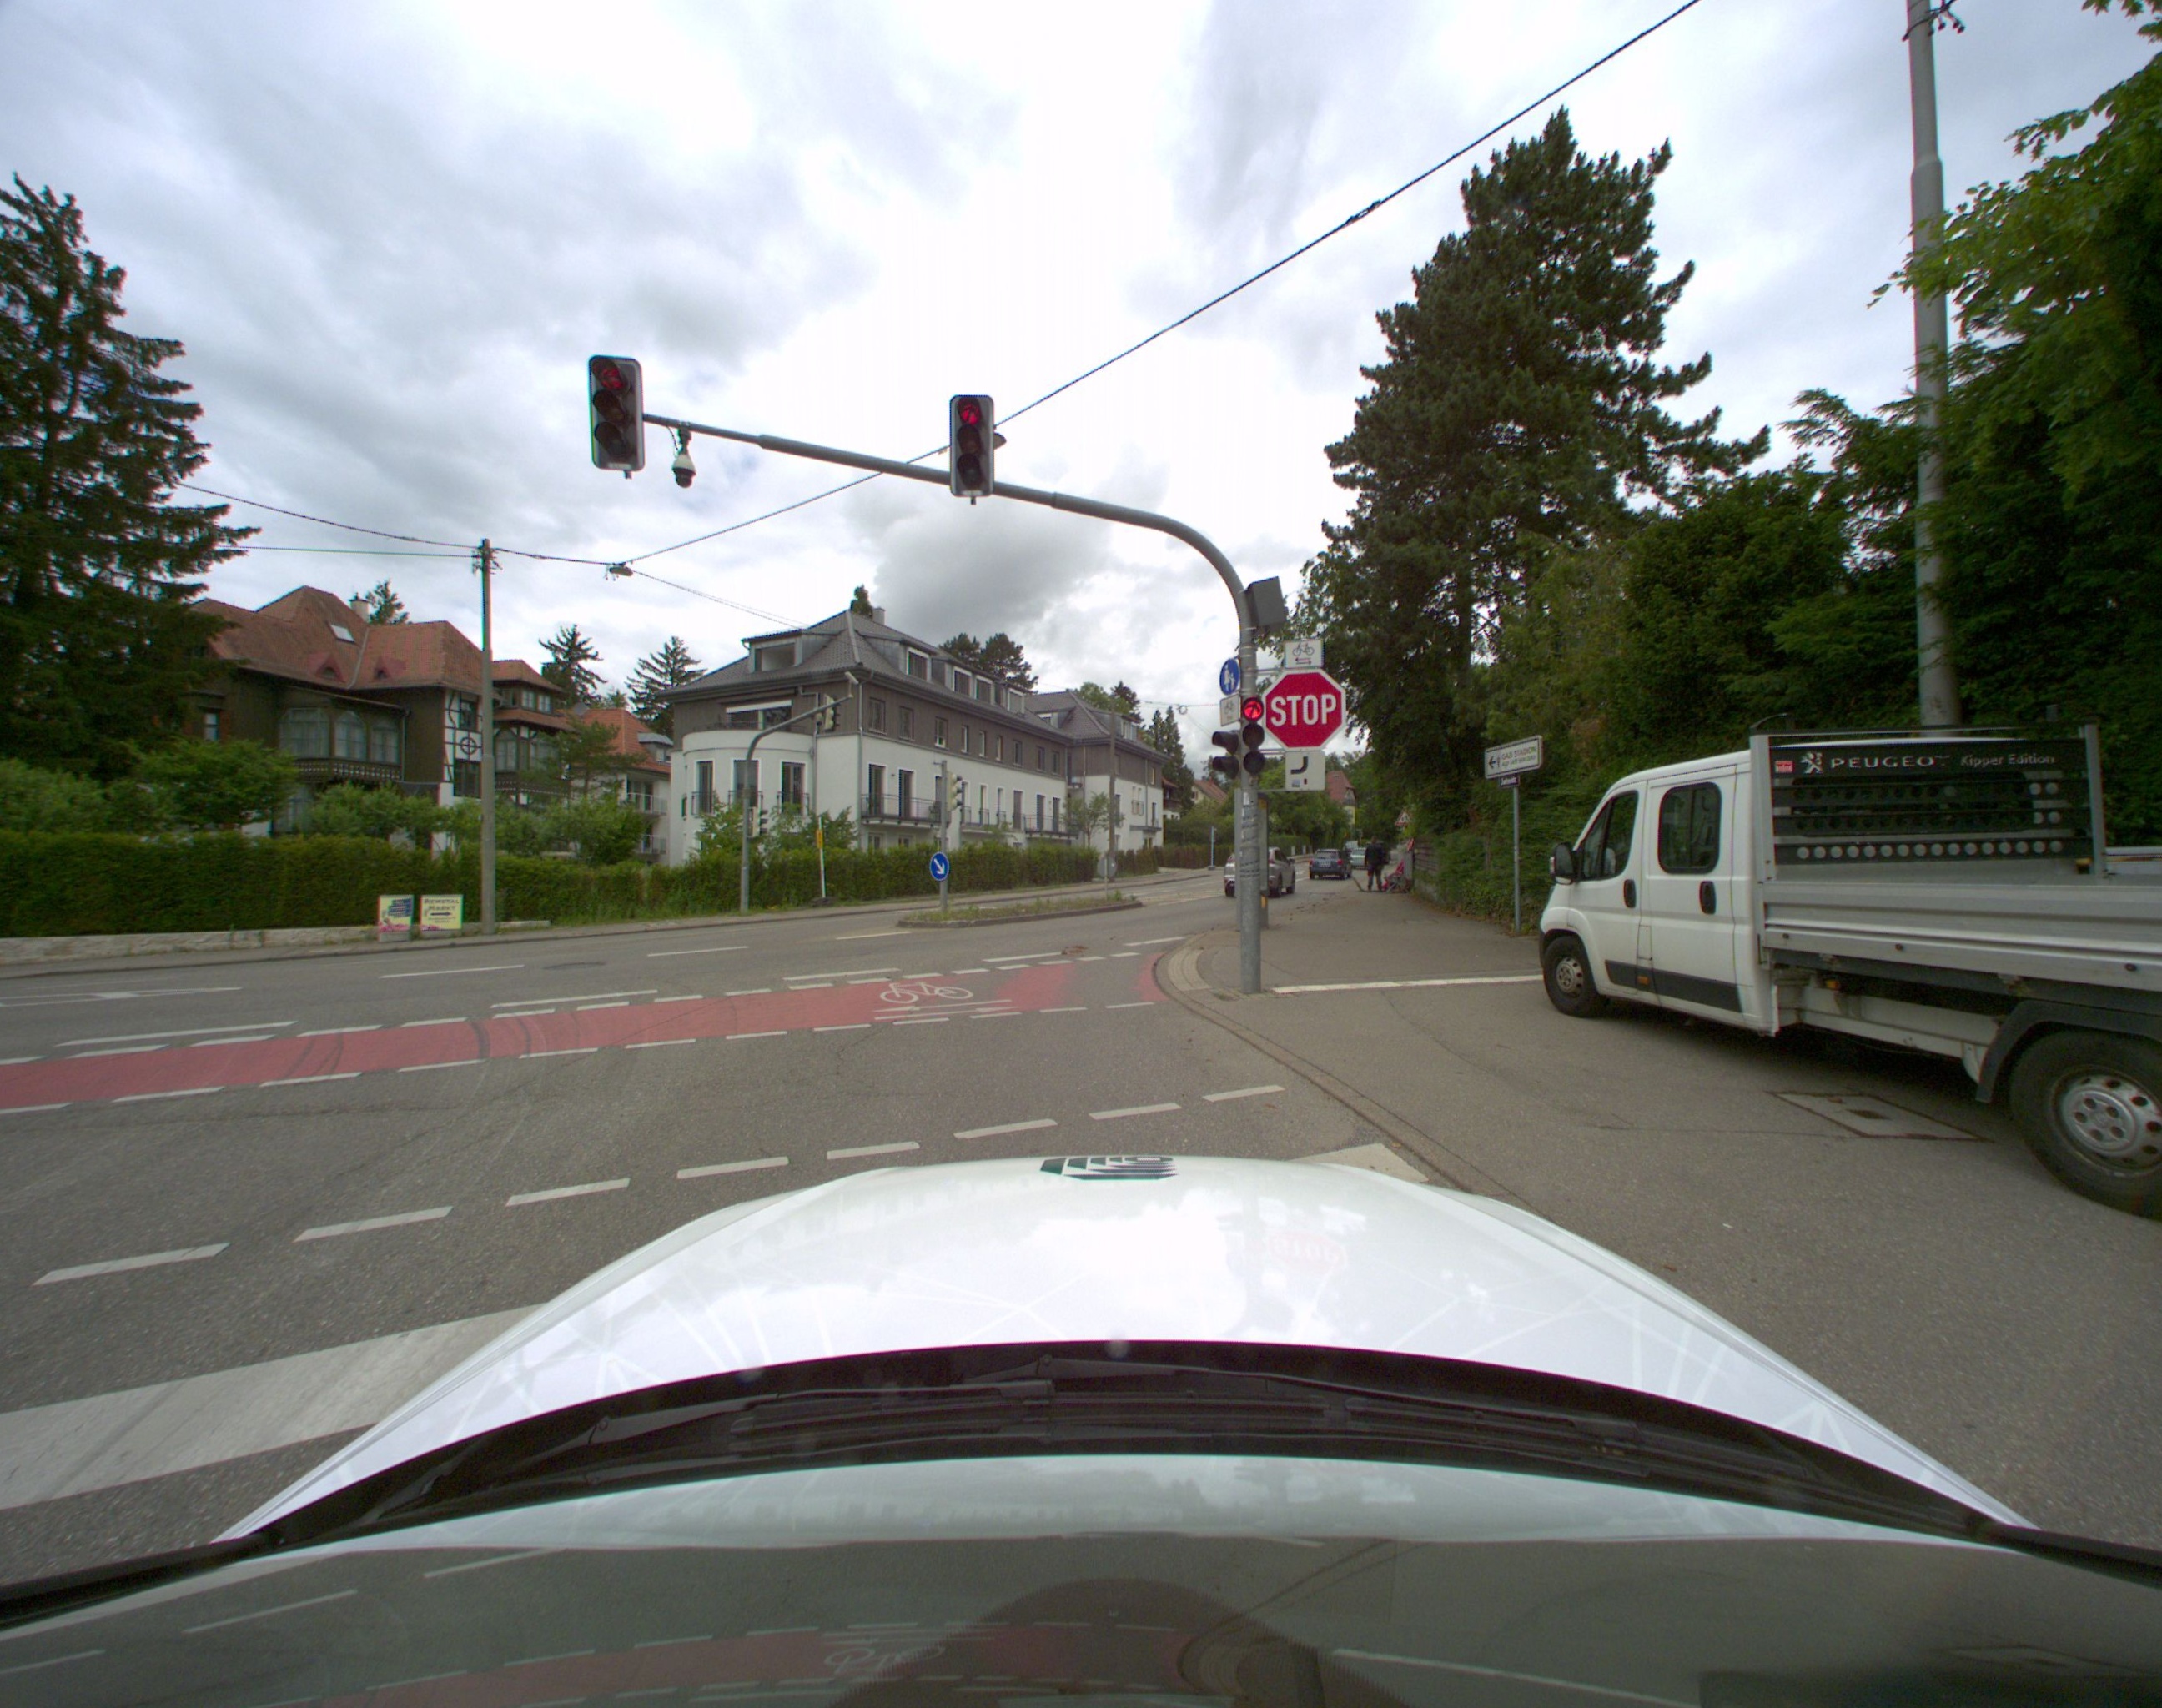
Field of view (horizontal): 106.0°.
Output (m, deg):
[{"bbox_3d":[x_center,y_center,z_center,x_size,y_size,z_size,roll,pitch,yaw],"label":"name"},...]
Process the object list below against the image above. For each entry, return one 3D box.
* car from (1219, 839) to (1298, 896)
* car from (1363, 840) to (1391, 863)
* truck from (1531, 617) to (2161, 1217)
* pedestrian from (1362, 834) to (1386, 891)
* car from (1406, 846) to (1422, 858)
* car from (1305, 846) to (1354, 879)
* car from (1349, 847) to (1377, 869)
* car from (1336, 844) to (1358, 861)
[{"bbox_3d":[6.139,0.424,27.738,1.791,1.753,4.512,-2,0,23],"label":"car"},{"bbox_3d":[25.119,-0.252,69.077,1.902,1.894,4.935,1,1,23],"label":"car"},{"bbox_3d":[5.267,0.234,4.962,2.198,2.243,5.729,0,0,4],"label":"truck"},{"bbox_3d":[9.831,0.290,27.357,0.594,1.907,0.559,0,-1,2],"label":"pedestrian"},{"bbox_3d":[49.015,-0.300,119.867,1.922,1.825,4.101,1,1,24],"label":"car"},{"bbox_3d":[12.770,0.388,41.664,1.783,1.527,4.770,-2,0,24],"label":"car"},{"bbox_3d":[19.552,0.244,56.393,1.679,1.430,3.768,-2,0,22],"label":"car"},{"bbox_3d":[31.658,-0.152,96.844,1.895,1.881,5.170,-2,-1,24],"label":"car"}]
